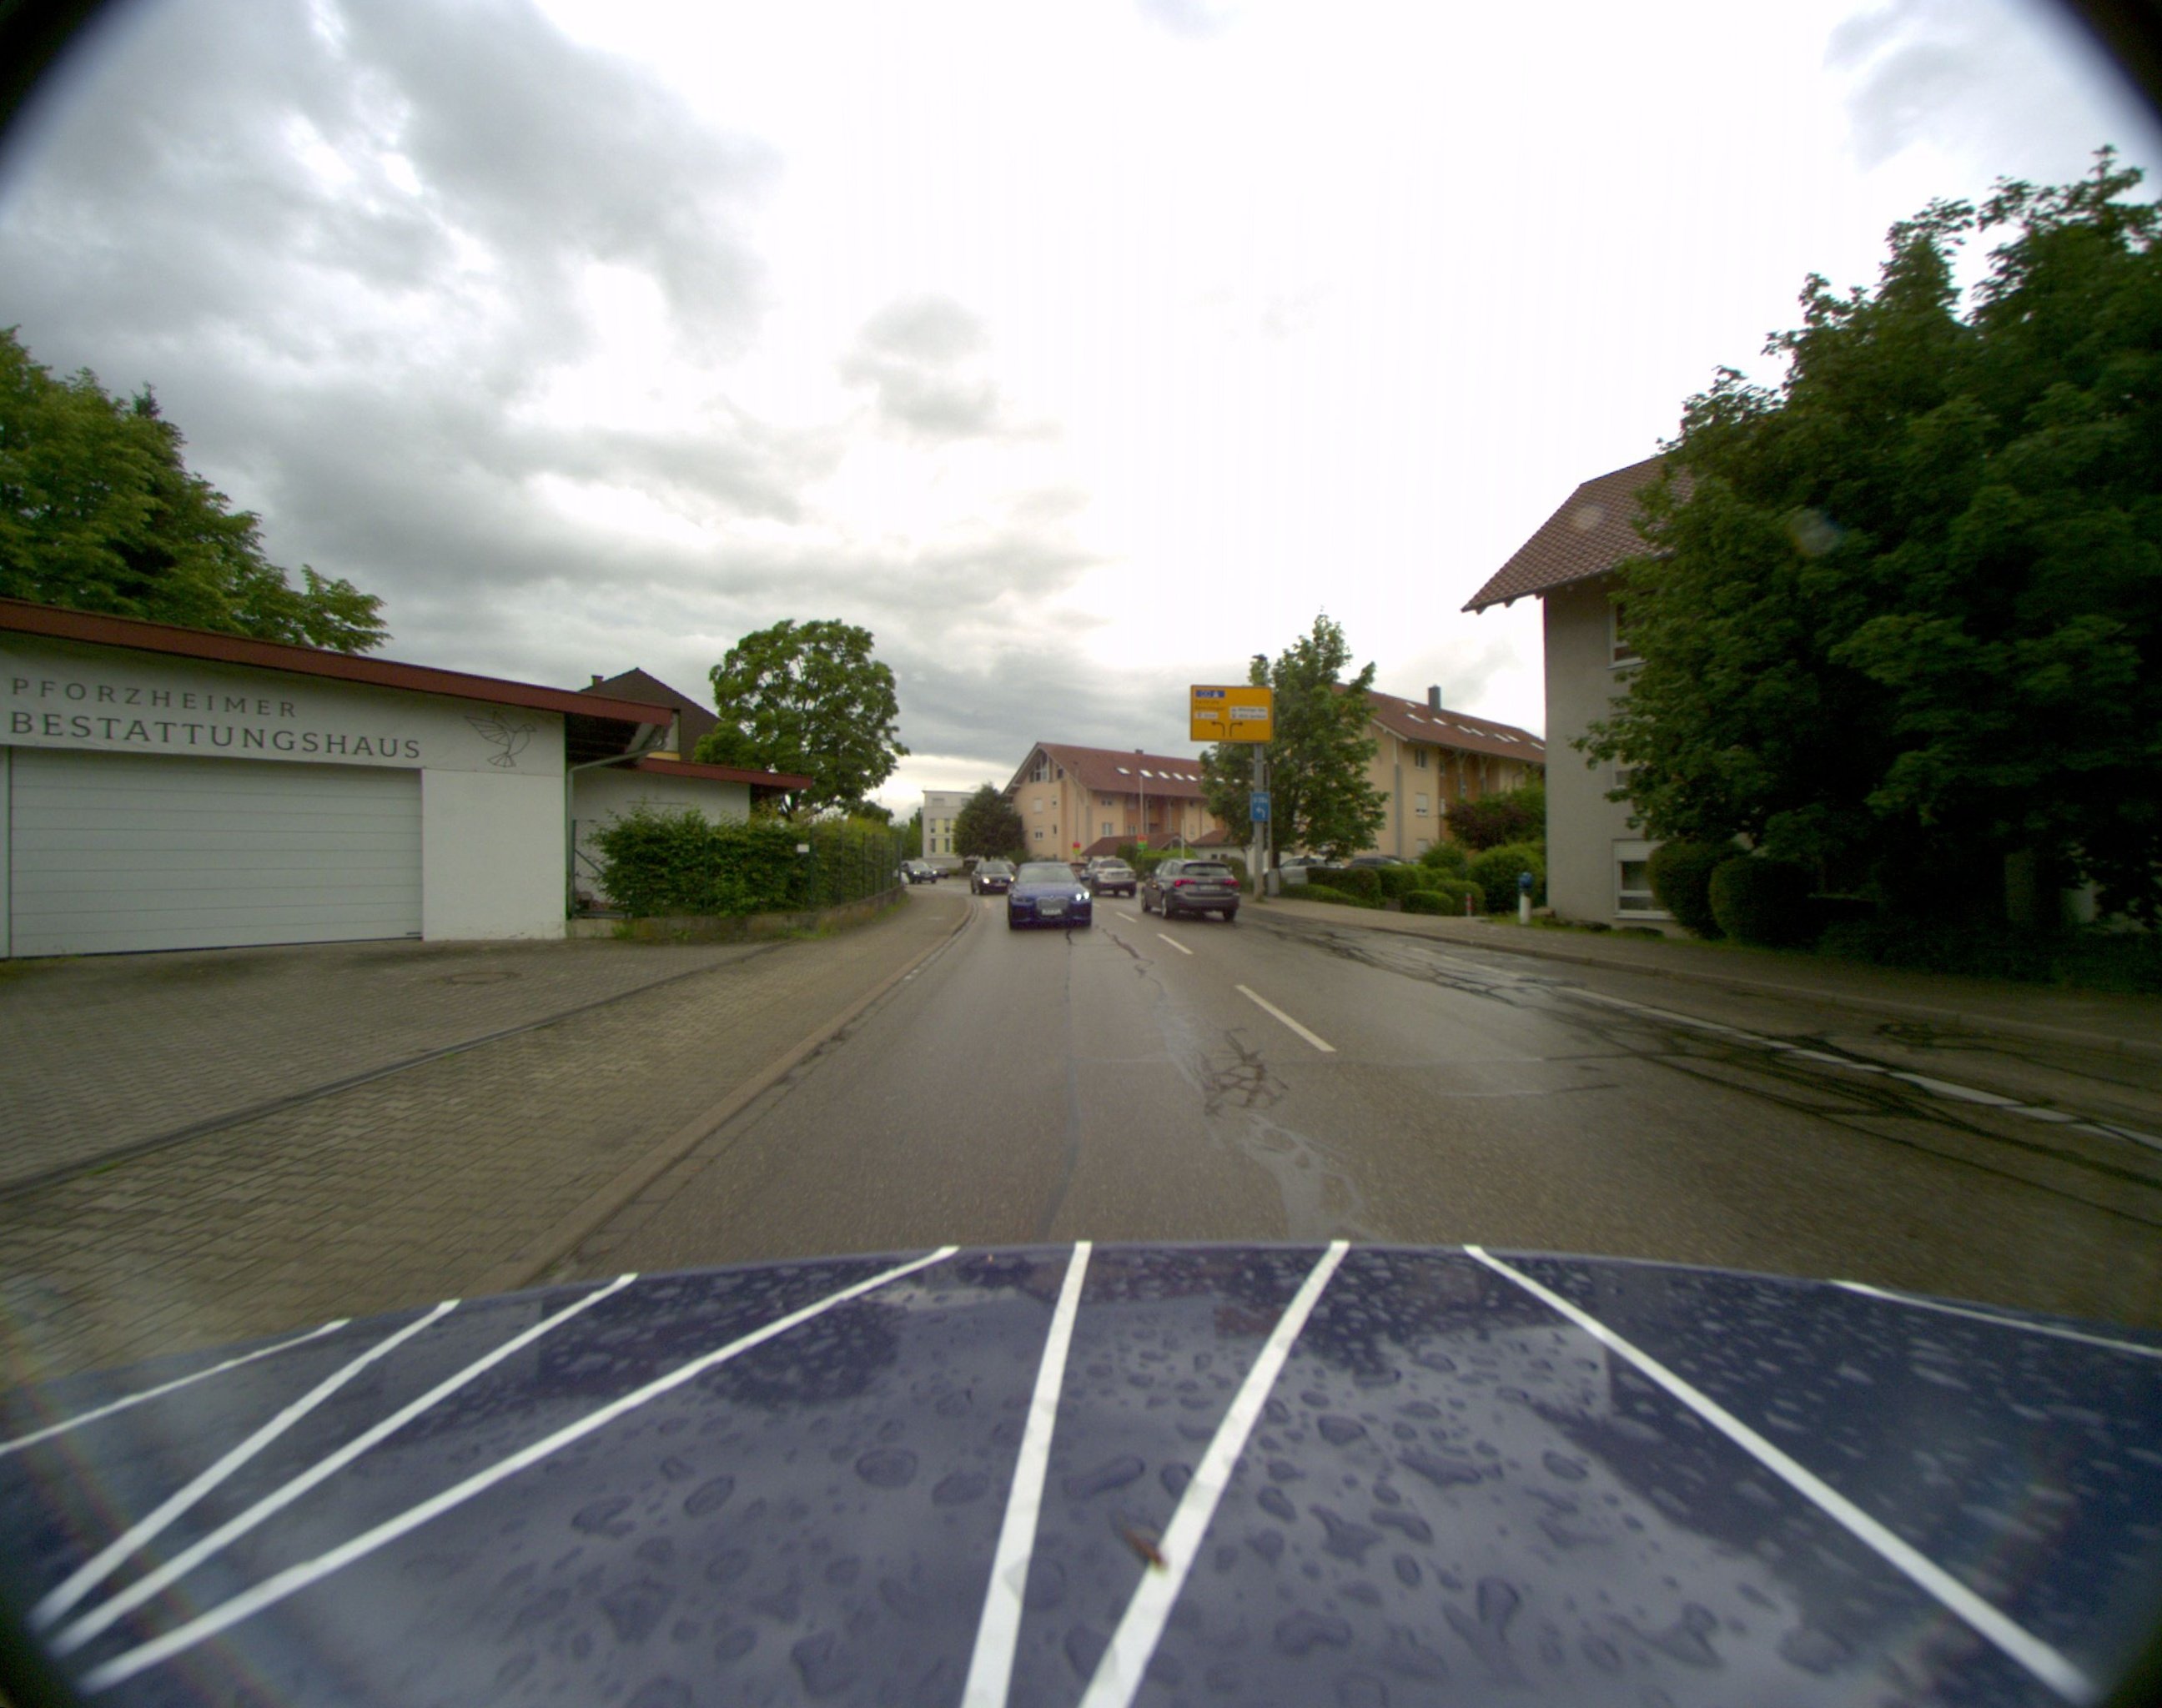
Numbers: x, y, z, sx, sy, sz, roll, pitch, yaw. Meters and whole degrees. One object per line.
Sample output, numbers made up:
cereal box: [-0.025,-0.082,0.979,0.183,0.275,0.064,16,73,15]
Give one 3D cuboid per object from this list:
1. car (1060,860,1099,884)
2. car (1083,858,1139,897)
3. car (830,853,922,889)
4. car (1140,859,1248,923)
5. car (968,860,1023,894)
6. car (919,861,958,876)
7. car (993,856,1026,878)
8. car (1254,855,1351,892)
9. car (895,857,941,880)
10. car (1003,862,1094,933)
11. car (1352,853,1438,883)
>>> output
car: [-0.108,1.089,46.276,1.691,1.376,3.770,0,0,-11]
car: [1.191,0.954,32.020,1.669,1.516,3.997,0,0,-9]
car: [-10.028,0.842,37.193,4.007,1.550,1.877,4,-2,-28]
car: [2.789,0.883,19.704,1.781,1.464,4.248,0,0,-6]
car: [-4.110,1.050,35.989,1.843,1.440,3.994,-1,0,-17]
car: [-13.633,1.334,72.396,1.888,1.328,3.988,0,0,-41]
car: [-5.691,1.009,59.999,1.885,1.685,3.994,0,0,-16]
car: [10.126,0.868,34.945,1.741,1.592,3.989,0,0,-39]
car: [-11.772,1.018,54.841,1.845,1.541,3.990,-1,1,-34]
car: [-0.837,0.943,18.244,1.914,1.425,4.299,-1,0,-4]
car: [14.761,0.630,35.812,1.519,1.373,3.430,0,0,-39]
